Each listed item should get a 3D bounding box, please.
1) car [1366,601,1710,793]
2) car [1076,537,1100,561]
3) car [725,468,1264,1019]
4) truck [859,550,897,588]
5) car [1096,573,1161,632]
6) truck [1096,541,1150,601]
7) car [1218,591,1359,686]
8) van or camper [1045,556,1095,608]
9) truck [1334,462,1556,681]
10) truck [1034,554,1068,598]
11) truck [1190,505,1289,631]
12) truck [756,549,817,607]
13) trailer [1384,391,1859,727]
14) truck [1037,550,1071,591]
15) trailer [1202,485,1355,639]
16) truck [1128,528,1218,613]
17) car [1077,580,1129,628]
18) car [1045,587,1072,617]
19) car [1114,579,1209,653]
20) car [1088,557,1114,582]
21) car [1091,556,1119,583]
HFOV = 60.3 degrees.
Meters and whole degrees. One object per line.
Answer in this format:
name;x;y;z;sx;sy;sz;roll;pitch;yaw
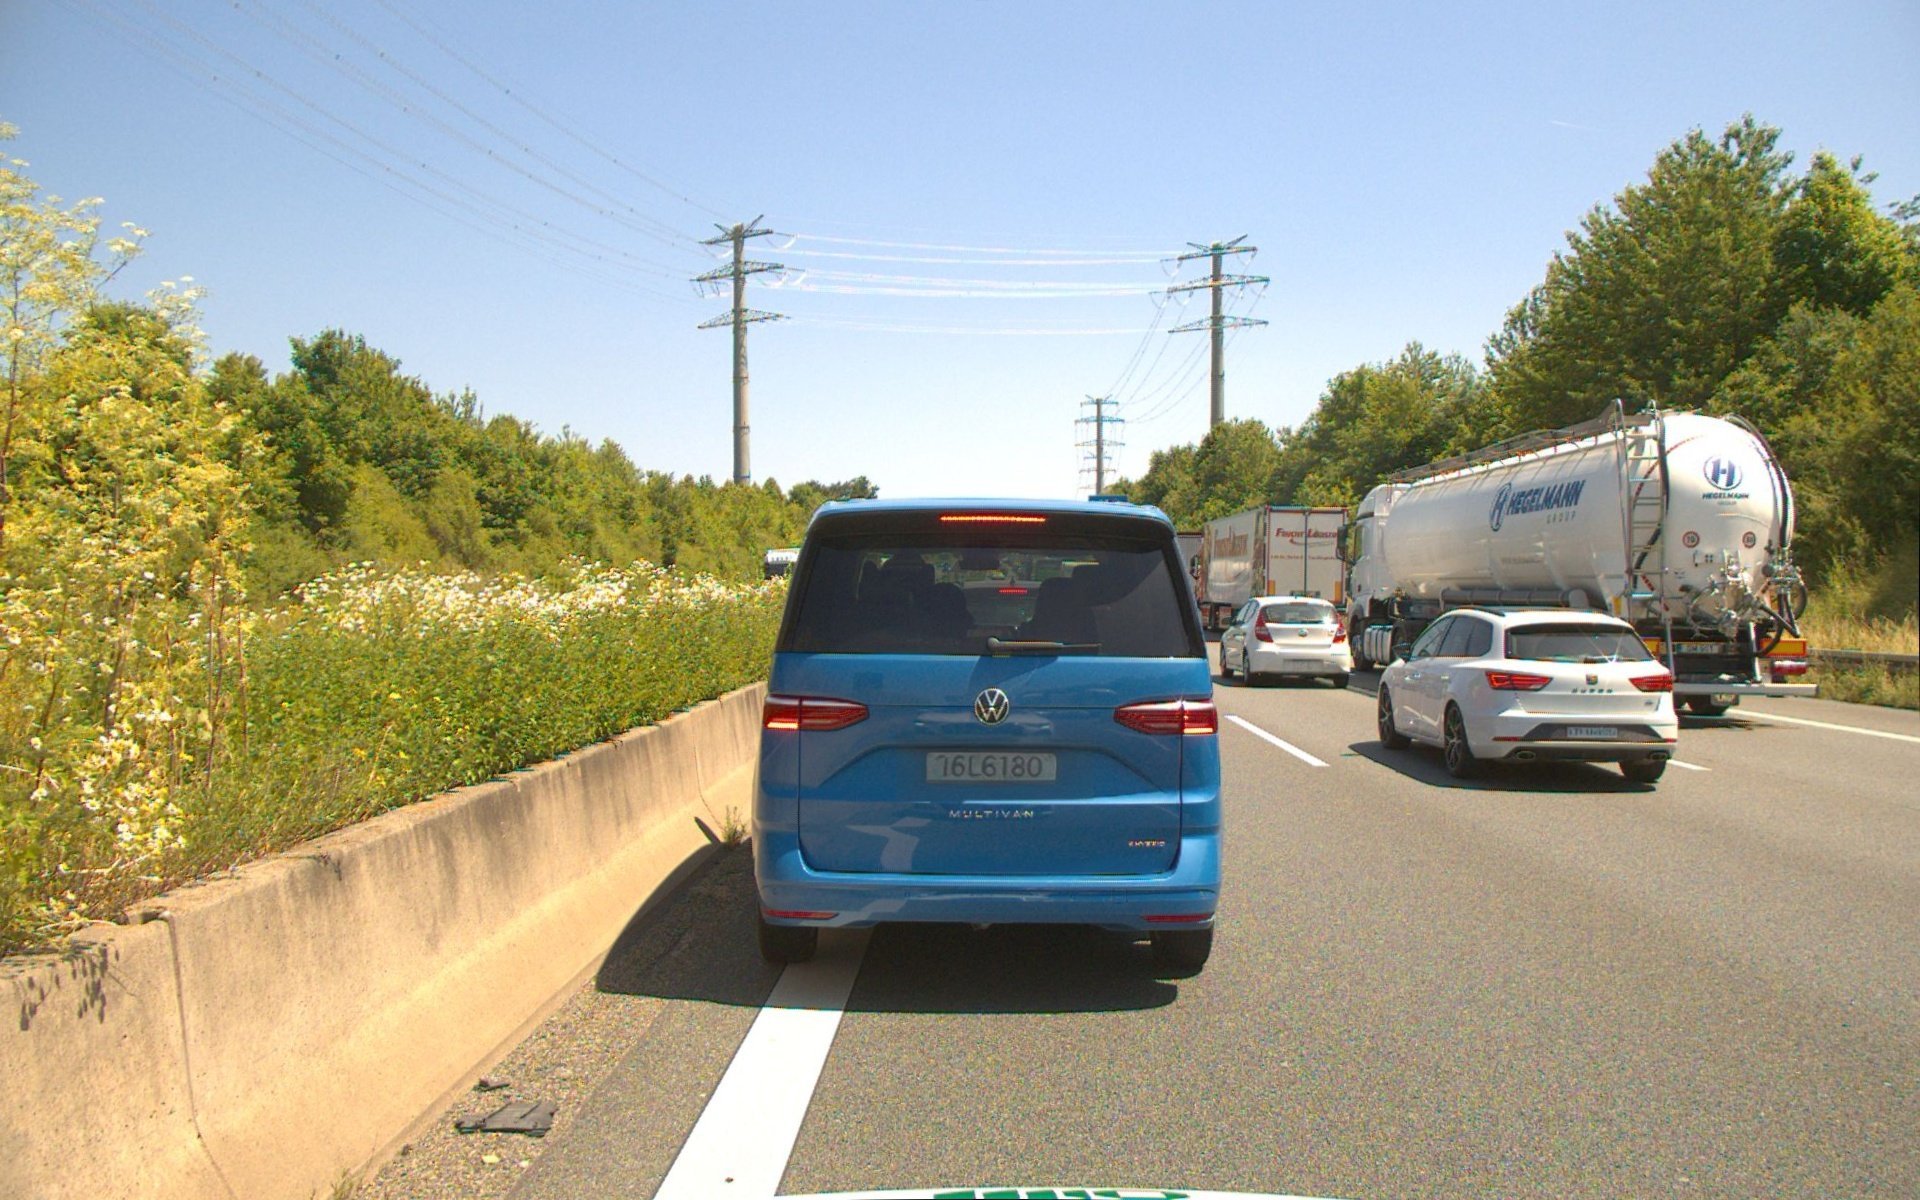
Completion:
car;5.038;0.780;15.059;1.711;1.468;4.314;-1;-1;2
car;11.663;-4.653;150.712;1.952;2.049;4.001;0;0;1
car;0.161;0.492;7.829;1.880;1.919;4.001;1;0;1
truck;-8.554;-3.186;174.165;3.107;3.886;11.945;1;0;1
car;5.932;0.121;58.711;1.884;1.959;4.236;-2;-1;1
truck;11.188;-1.868;114.384;2.835;3.832;13.347;0;0;2
car;5.625;0.648;28.769;1.779;1.511;4.001;-1;-1;2
van or camper;6.692;-1.066;101.797;2.895;3.075;7.105;0;0;2
truck;9.365;-0.521;32.558;2.735;3.903;5.572;-1;0;1
truck;8.257;-2.097;150.702;2.835;3.832;10.142;0;0;2
truck;10.503;-1.168;62.560;2.852;4.547;5.143;-1;0;1
truck;-12.309;-1.536;118.401;2.851;3.886;11.945;1;0;1
trailer;9.274;-0.487;25.249;2.704;3.912;11.486;-1;0;1
truck;11.111;-3.434;196.401;3.493;4.596;10.293;0;0;1
trailer;10.396;-1.148;55.455;2.852;4.547;12.154;-1;0;1
truck;10.488;-1.293;83.058;2.943;3.832;15.716;0;0;2
car;6.143;0.181;71.490;1.884;1.959;4.236;-2;-1;1
car;6.994;0.181;117.529;1.798;2.033;4.001;-2;-1;2
car;5.086;0.414;42.258;1.958;1.745;4.626;-1;-1;2
car;11.917;-2.551;139.601;1.952;2.049;4.001;0;0;1
car;11.375;-2.360;129.784;1.952;2.049;4.001;0;0;1
